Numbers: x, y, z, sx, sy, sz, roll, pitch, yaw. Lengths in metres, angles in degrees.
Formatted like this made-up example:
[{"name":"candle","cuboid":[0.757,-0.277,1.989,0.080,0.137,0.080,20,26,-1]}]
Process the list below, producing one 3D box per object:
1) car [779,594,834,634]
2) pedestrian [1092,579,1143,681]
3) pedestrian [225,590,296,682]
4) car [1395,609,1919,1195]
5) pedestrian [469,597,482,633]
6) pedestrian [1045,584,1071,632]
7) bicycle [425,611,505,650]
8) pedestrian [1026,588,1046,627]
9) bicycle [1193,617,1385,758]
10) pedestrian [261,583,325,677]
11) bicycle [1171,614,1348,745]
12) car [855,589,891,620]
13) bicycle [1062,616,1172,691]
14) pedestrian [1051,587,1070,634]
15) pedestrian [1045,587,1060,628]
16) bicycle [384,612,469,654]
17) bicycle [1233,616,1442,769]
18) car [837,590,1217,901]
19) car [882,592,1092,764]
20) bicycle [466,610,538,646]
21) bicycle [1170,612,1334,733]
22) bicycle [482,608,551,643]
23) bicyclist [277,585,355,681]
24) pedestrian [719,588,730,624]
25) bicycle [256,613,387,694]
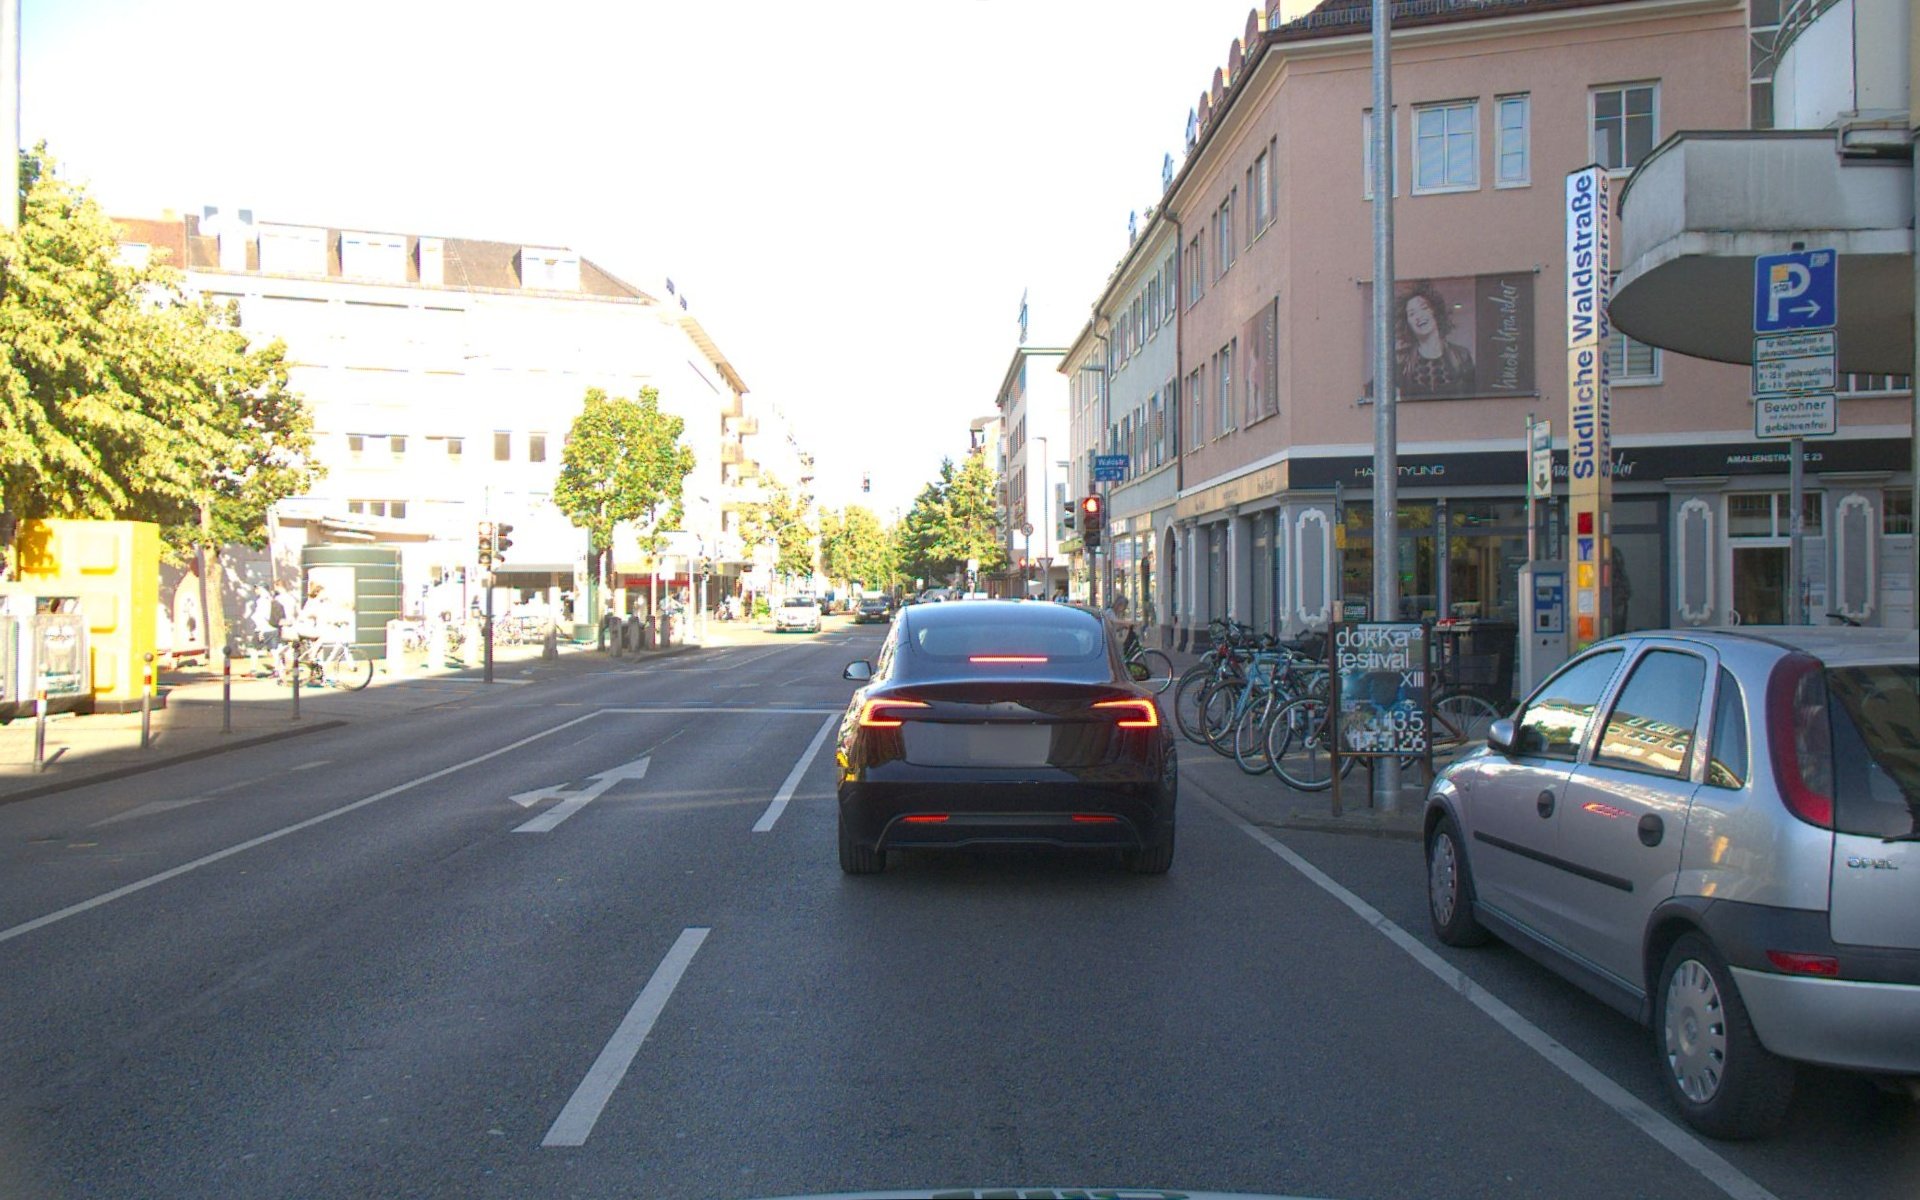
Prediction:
[{"name":"car","cuboid":[-6.570,0.587,71.107,1.953,1.567,3.999,-4,0,-1]},{"name":"pedestrian","cuboid":[2.321,0.434,24.316,0.727,1.466,0.583,1,0,7]},{"name":"pedestrian","cuboid":[-12.890,0.650,30.483,0.966,1.665,0.737,0,0,3]},{"name":"car","cuboid":[2.895,0.761,6.053,1.588,1.419,3.886,0,0,0]},{"name":"pedestrian","cuboid":[-18.339,0.551,62.664,0.412,1.363,0.393,0,0,-8]},{"name":"pedestrian","cuboid":[3.863,0.311,64.993,0.979,1.883,0.615,0,0,-1]},{"name":"bicycle","cuboid":[-14.164,0.869,47.369,2.040,1.123,0.806,0,0,-1]},{"name":"pedestrian","cuboid":[3.987,0.396,86.451,0.742,2.049,0.791,0,0,-27]},{"name":"bicycle","cuboid":[2.941,0.776,14.835,1.595,1.180,0.432,-2,0,-2]},{"name":"pedestrian","cuboid":[-12.642,0.561,31.344,0.882,1.755,0.744,0,0,3]},{"name":"bicycle","cuboid":[2.891,0.759,15.999,1.595,1.180,0.432,-2,0,-2]},{"name":"car","cuboid":[-5.023,0.262,95.991,2.009,1.757,4.652,0,0,-2]},{"name":"bicycle","cuboid":[2.311,0.780,24.316,1.581,1.063,0.591,1,0,7]},{"name":"pedestrian","cuboid":[3.952,0.414,65.005,0.689,1.814,0.533,0,0,-1]},{"name":"pedestrian","cuboid":[4.659,0.392,83.240,0.614,2.049,0.558,0,0,26]},{"name":"bicycle","cuboid":[-14.460,0.883,44.844,2.040,1.123,0.806,0,0,-1]},{"name":"bicycle","cuboid":[3.109,0.754,13.666,1.595,1.180,0.432,-2,0,-2]},{"name":"car","cuboid":[0.324,0.687,9.783,1.812,1.480,3.786,0,0,0]},{"name":"car","cuboid":[0.234,0.671,16.197,1.812,1.480,3.786,0,0,0]},{"name":"bicycle","cuboid":[-14.428,0.882,52.139,2.040,1.123,0.806,0,0,-1]},{"name":"bicycle","cuboid":[3.018,0.745,17.172,1.594,1.180,0.433,-2,0,0]},{"name":"bicycle","cuboid":[-14.569,0.839,54.331,2.040,1.123,0.806,0,0,-1]},{"name":"bicyclist","cuboid":[-10.979,0.546,28.220,1.074,1.617,0.629,0,0,15]},{"name":"pedestrian","cuboid":[-13.795,0.348,96.876,0.613,2.049,0.575,0,0,-1]},{"name":"bicycle","cuboid":[-10.886,0.901,28.207,2.080,1.221,0.629,3,1,16]}]
